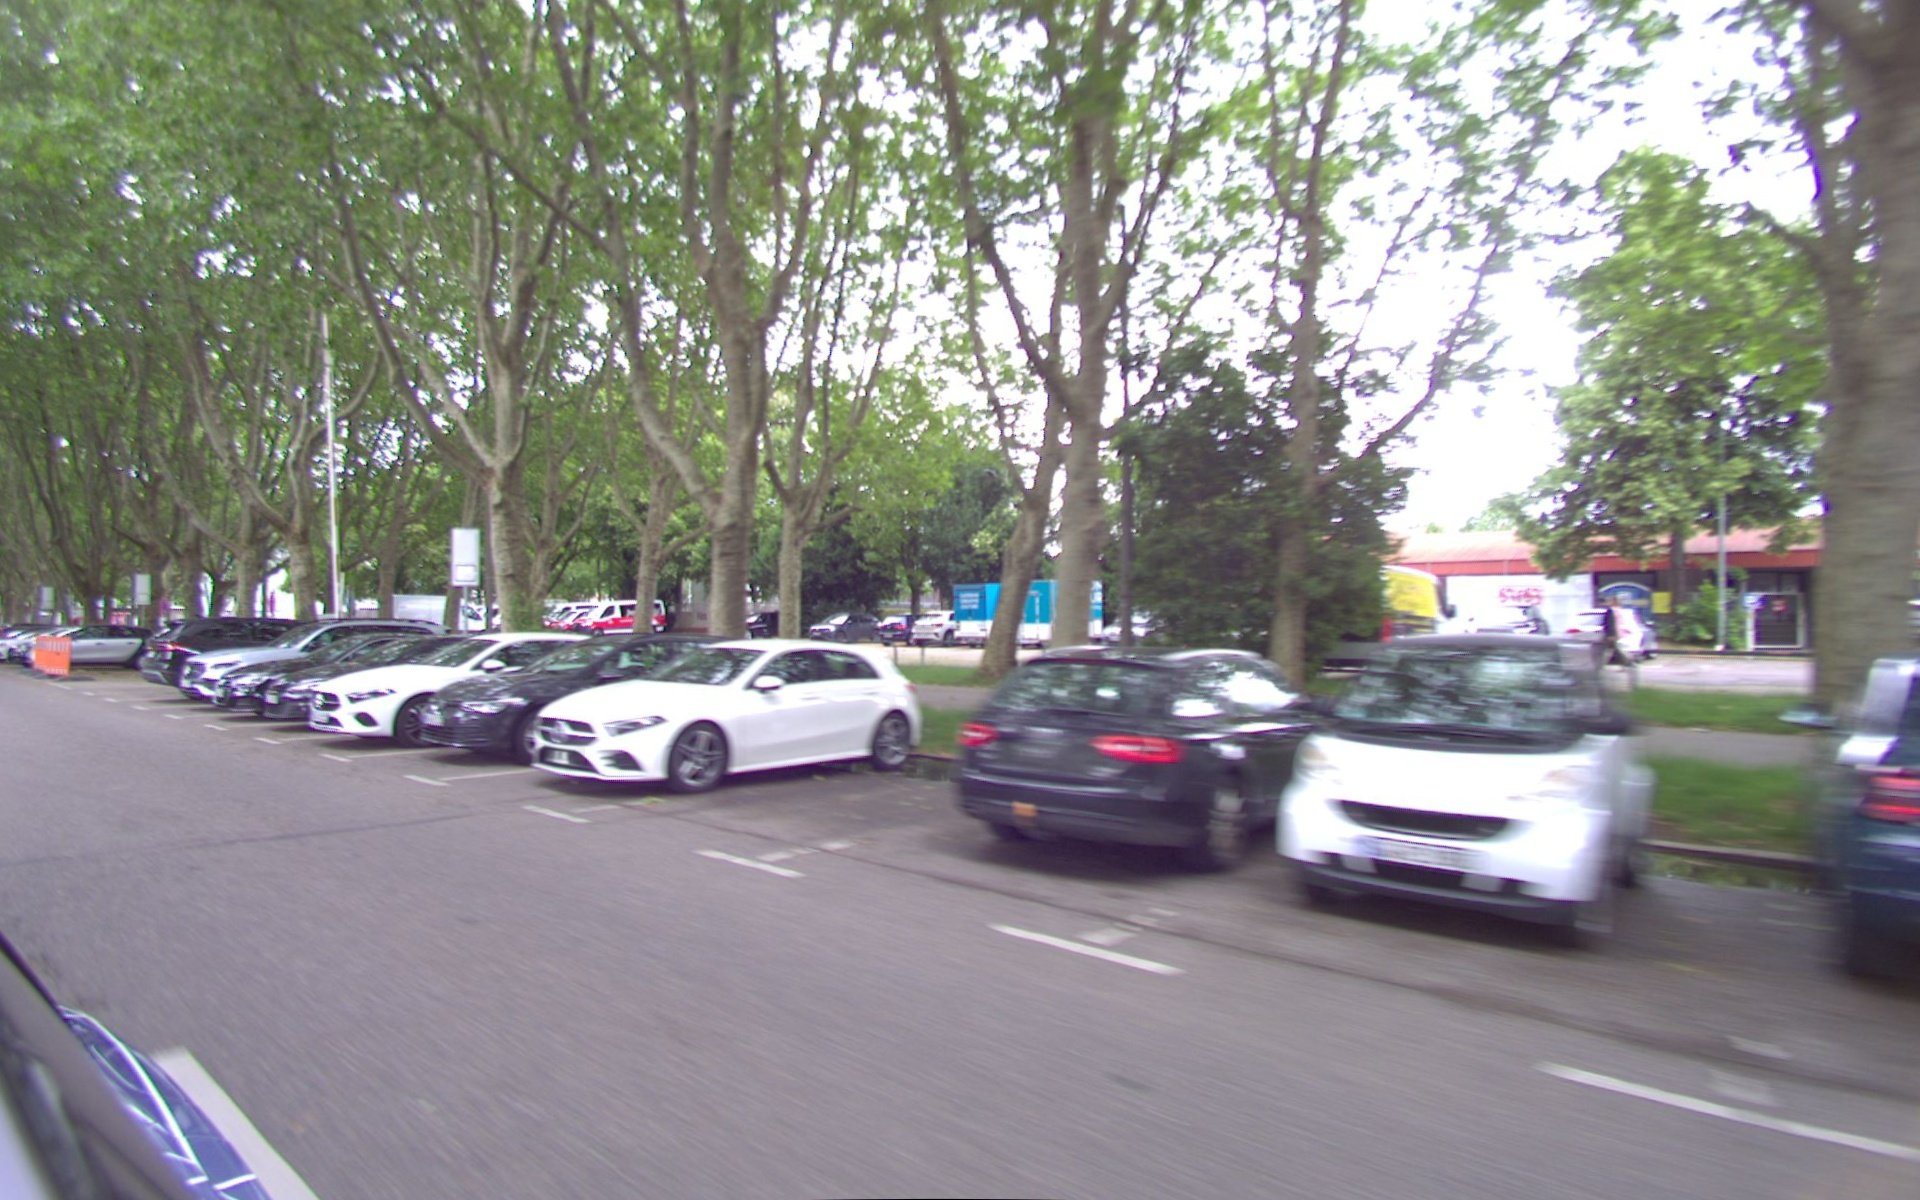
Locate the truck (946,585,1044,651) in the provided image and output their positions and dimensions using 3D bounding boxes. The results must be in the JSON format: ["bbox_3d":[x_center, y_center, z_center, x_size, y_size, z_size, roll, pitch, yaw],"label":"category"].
[{"bbox_3d":[1.520,0.736,42.741,2.121,2.628,3.945,-1,0,42],"label":"truck"}]

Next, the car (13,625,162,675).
[{"bbox_3d":[-28.878,1.658,33.559,1.847,1.590,3.518,-2,-4,43],"label":"car"}]

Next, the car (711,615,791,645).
[{"bbox_3d":[-11.053,1.562,53.683,1.797,1.498,3.950,-1,0,37],"label":"car"}]

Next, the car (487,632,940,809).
[{"bbox_3d":[-2.350,1.094,10.708,2.044,1.455,4.367,-1,-3,37],"label":"car"}]

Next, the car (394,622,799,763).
[{"bbox_3d":[-4.259,1.035,12.448,1.783,1.428,4.360,-2,-3,42],"label":"car"}]

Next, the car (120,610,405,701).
[{"bbox_3d":[-14.089,1.110,20.686,2.044,1.639,4.366,-2,-3,37],"label":"car"}]

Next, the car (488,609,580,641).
[{"bbox_3d":[-29.262,1.679,69.706,2.391,2.036,5.399,-1,0,38],"label":"car"}]

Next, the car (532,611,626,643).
[{"bbox_3d":[-24.205,1.689,64.512,1.998,1.864,5.399,-1,0,38],"label":"car"}]

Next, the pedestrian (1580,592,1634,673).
[{"bbox_3d":[14.784,0.727,23.138,0.917,1.814,0.808,-1,-1,41],"label":"pedestrian"}]

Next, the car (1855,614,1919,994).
[{"bbox_3d":[5.680,0.828,5.008,1.855,1.464,3.945,-1,0,42],"label":"car"}]

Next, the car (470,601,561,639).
[{"bbox_3d":[-31.317,1.347,71.453,2.391,2.536,5.399,-1,0,38],"label":"car"}]

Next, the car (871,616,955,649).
[{"bbox_3d":[-2.114,1.459,46.118,1.727,1.387,3.966,-1,0,37],"label":"car"}]

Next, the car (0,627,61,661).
[{"bbox_3d":[-45.871,2.118,48.502,2.000,1.641,3.975,-3,-4,43],"label":"car"}]

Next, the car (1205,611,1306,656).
[{"bbox_3d":[10.308,1.128,35.131,1.900,1.407,3.946,-2,-1,41],"label":"car"}]

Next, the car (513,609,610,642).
[{"bbox_3d":[-26.017,1.636,66.260,2.473,2.013,5.399,-1,0,38],"label":"car"}]

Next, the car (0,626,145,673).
[{"bbox_3d":[-30.839,1.707,35.051,1.676,1.550,3.796,-2,-4,43],"label":"car"}]

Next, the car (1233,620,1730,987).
[{"bbox_3d":[3.485,0.895,6.360,1.855,1.464,3.945,-1,0,42],"label":"car"}]

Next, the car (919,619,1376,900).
[{"bbox_3d":[1.650,0.915,7.691,1.853,1.464,3.950,-1,0,37],"label":"car"}]

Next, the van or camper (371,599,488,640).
[{"bbox_3d":[-28.860,1.032,55.208,2.242,2.115,5.234,-1,0,38],"label":"van or camper"}]

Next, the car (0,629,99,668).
[{"bbox_3d":[-36.583,1.893,39.871,1.847,1.486,3.796,-2,-4,43],"label":"car"}]

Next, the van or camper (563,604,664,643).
[{"bbox_3d":[-21.660,1.434,63.480,2.328,2.272,5.646,-1,0,40],"label":"van or camper"}]

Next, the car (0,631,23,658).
[{"bbox_3d":[-51.921,2.320,53.061,2.000,1.442,3.943,-3,-4,43],"label":"car"}]

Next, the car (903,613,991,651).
[{"bbox_3d":[-0.539,1.354,44.318,1.732,1.519,3.948,-1,0,39],"label":"car"}]

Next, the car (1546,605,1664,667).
[{"bbox_3d":[17.989,0.937,28.101,2.181,1.532,4.892,-1,0,39],"label":"car"}]

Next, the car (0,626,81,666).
[{"bbox_3d":[-38.589,1.890,41.372,1.847,1.581,3.796,-2,-4,43],"label":"car"}]

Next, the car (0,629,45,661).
[{"bbox_3d":[-47.771,2.203,49.703,1.799,1.539,3.985,-3,-4,43],"label":"car"}]

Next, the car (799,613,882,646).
[{"bbox_3d":[-5.743,1.397,49.134,1.797,1.498,3.950,-1,0,37],"label":"car"}]

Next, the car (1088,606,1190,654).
[{"bbox_3d":[6.696,1.061,37.642,1.990,1.674,3.946,-1,0,41],"label":"car"}]

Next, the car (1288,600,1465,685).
[{"bbox_3d":[9.150,0.824,21.968,2.093,1.608,5.295,-1,0,39],"label":"car"}]

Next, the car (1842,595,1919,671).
[{"bbox_3d":[21.903,0.709,23.346,1.996,1.638,3.951,-1,0,36],"label":"car"}]

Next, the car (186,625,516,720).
[{"bbox_3d":[-10.204,1.174,17.268,2.044,1.406,4.366,-2,-3,37],"label":"car"}]

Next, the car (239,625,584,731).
[{"bbox_3d":[-8.308,1.138,15.702,1.722,1.406,4.365,-2,-3,38],"label":"car"}]

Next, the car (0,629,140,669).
[{"bbox_3d":[-34.542,1.888,38.822,2.090,1.445,4.514,-2,-4,43],"label":"car"}]

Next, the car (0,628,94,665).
[{"bbox_3d":[-40.135,2.007,43.678,1.874,1.525,3.943,-2,-4,43],"label":"car"}]

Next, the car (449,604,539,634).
[{"bbox_3d":[-33.732,1.400,73.389,2.391,2.036,5.399,-1,-3,38],"label":"car"}]

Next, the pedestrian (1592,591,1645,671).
[{"bbox_3d":[15.474,0.709,23.790,0.917,1.814,0.932,-1,-1,41],"label":"pedestrian"}]

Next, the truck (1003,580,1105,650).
[{"bbox_3d":[3.913,0.597,41.578,2.375,2.737,3.947,-1,0,40],"label":"truck"}]

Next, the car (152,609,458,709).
[{"bbox_3d":[-12.115,1.068,19.030,2.041,1.639,4.373,-1,-3,33],"label":"car"}]

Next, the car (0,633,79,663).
[{"bbox_3d":[-41.917,2.141,44.988,2.000,1.320,3.943,-3,-4,43],"label":"car"}]

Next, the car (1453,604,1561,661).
[{"bbox_3d":[16.003,0.900,29.525,1.937,1.521,3.946,-2,-1,41],"label":"car"}]

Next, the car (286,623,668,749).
[{"bbox_3d":[-6.381,1.080,13.826,1.774,1.435,4.363,-2,-3,39],"label":"car"}]
